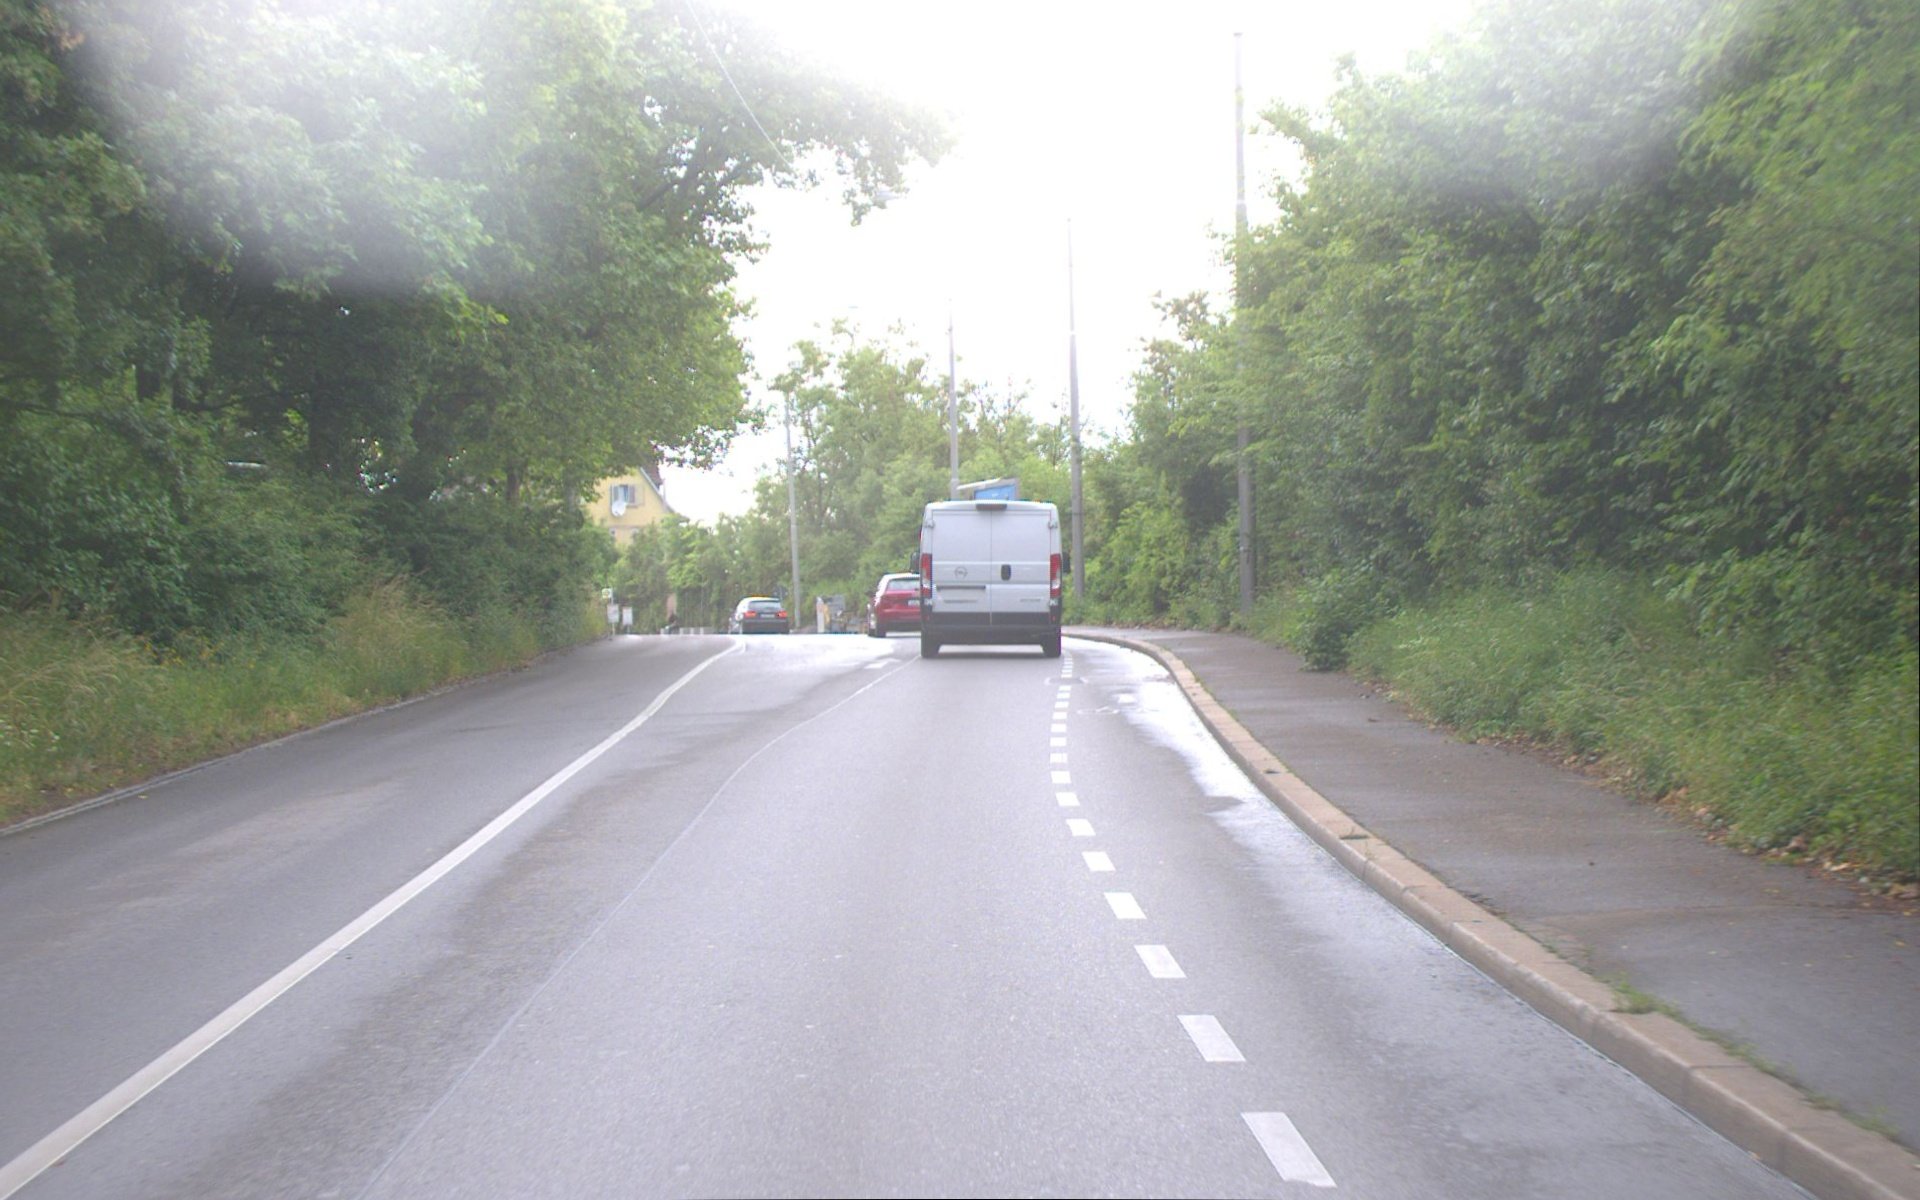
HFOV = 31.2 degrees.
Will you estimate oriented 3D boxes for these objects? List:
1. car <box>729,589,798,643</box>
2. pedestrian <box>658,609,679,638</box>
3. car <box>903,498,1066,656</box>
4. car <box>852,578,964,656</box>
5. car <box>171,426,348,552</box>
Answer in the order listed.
[{"bbox_3d":[-6.871,0.553,120.804,2.237,1.798,4.713,0,1,-1],"label":"car"},{"bbox_3d":[-13.976,1.111,164.801,0.878,1.363,1.066,0,1,-12],"label":"pedestrian"},{"bbox_3d":[0.305,-0.352,50.741,2.237,2.205,4.714,0,1,-2],"label":"car"},{"bbox_3d":[-1.211,0.355,77.656,2.237,1.651,4.714,0,1,-4],"label":"car"},{"bbox_3d":[-11.716,-1.825,57.790,1.993,2.007,4.627,0,1,0],"label":"car"}]
